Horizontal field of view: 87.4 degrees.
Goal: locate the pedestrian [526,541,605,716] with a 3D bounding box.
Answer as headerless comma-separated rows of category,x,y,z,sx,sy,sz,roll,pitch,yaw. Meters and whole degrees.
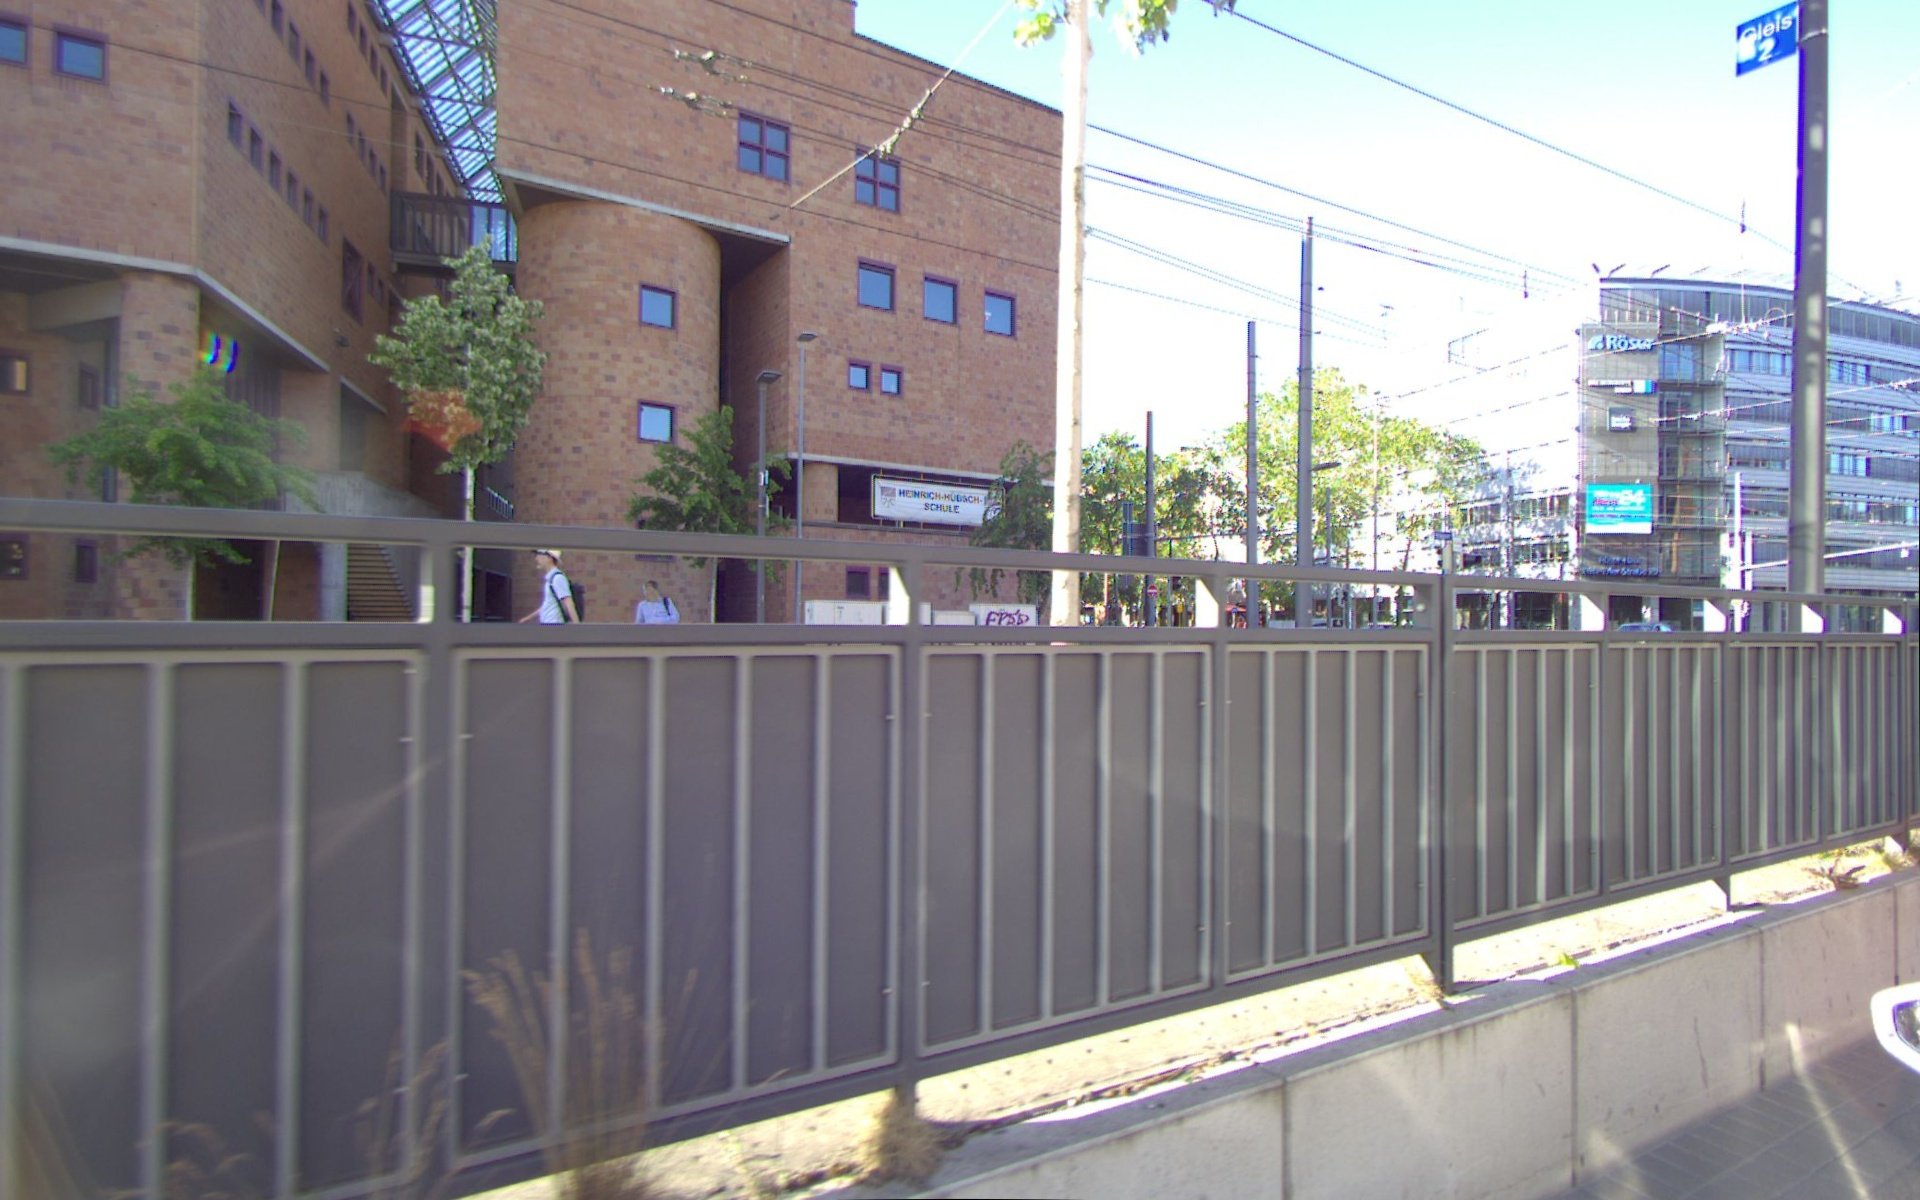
pedestrian,-4.307,0.301,10.947,0.661,1.831,0.680,2,0,-31

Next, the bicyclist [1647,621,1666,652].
bicyclist,35.695,1.865,51.470,0.642,1.554,0.584,2,0,-30

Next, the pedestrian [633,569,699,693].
pedestrian,-4.080,0.420,13.922,0.679,1.656,0.662,2,0,-34

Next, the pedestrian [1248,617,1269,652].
pedestrian,15.090,1.745,50.730,0.785,1.714,0.587,2,0,-29

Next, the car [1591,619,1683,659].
car,28.672,1.660,42.502,4.198,1.589,1.814,2,-2,-34

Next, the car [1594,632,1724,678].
car,19.261,1.493,27.736,2.841,1.077,1.237,2,0,40
